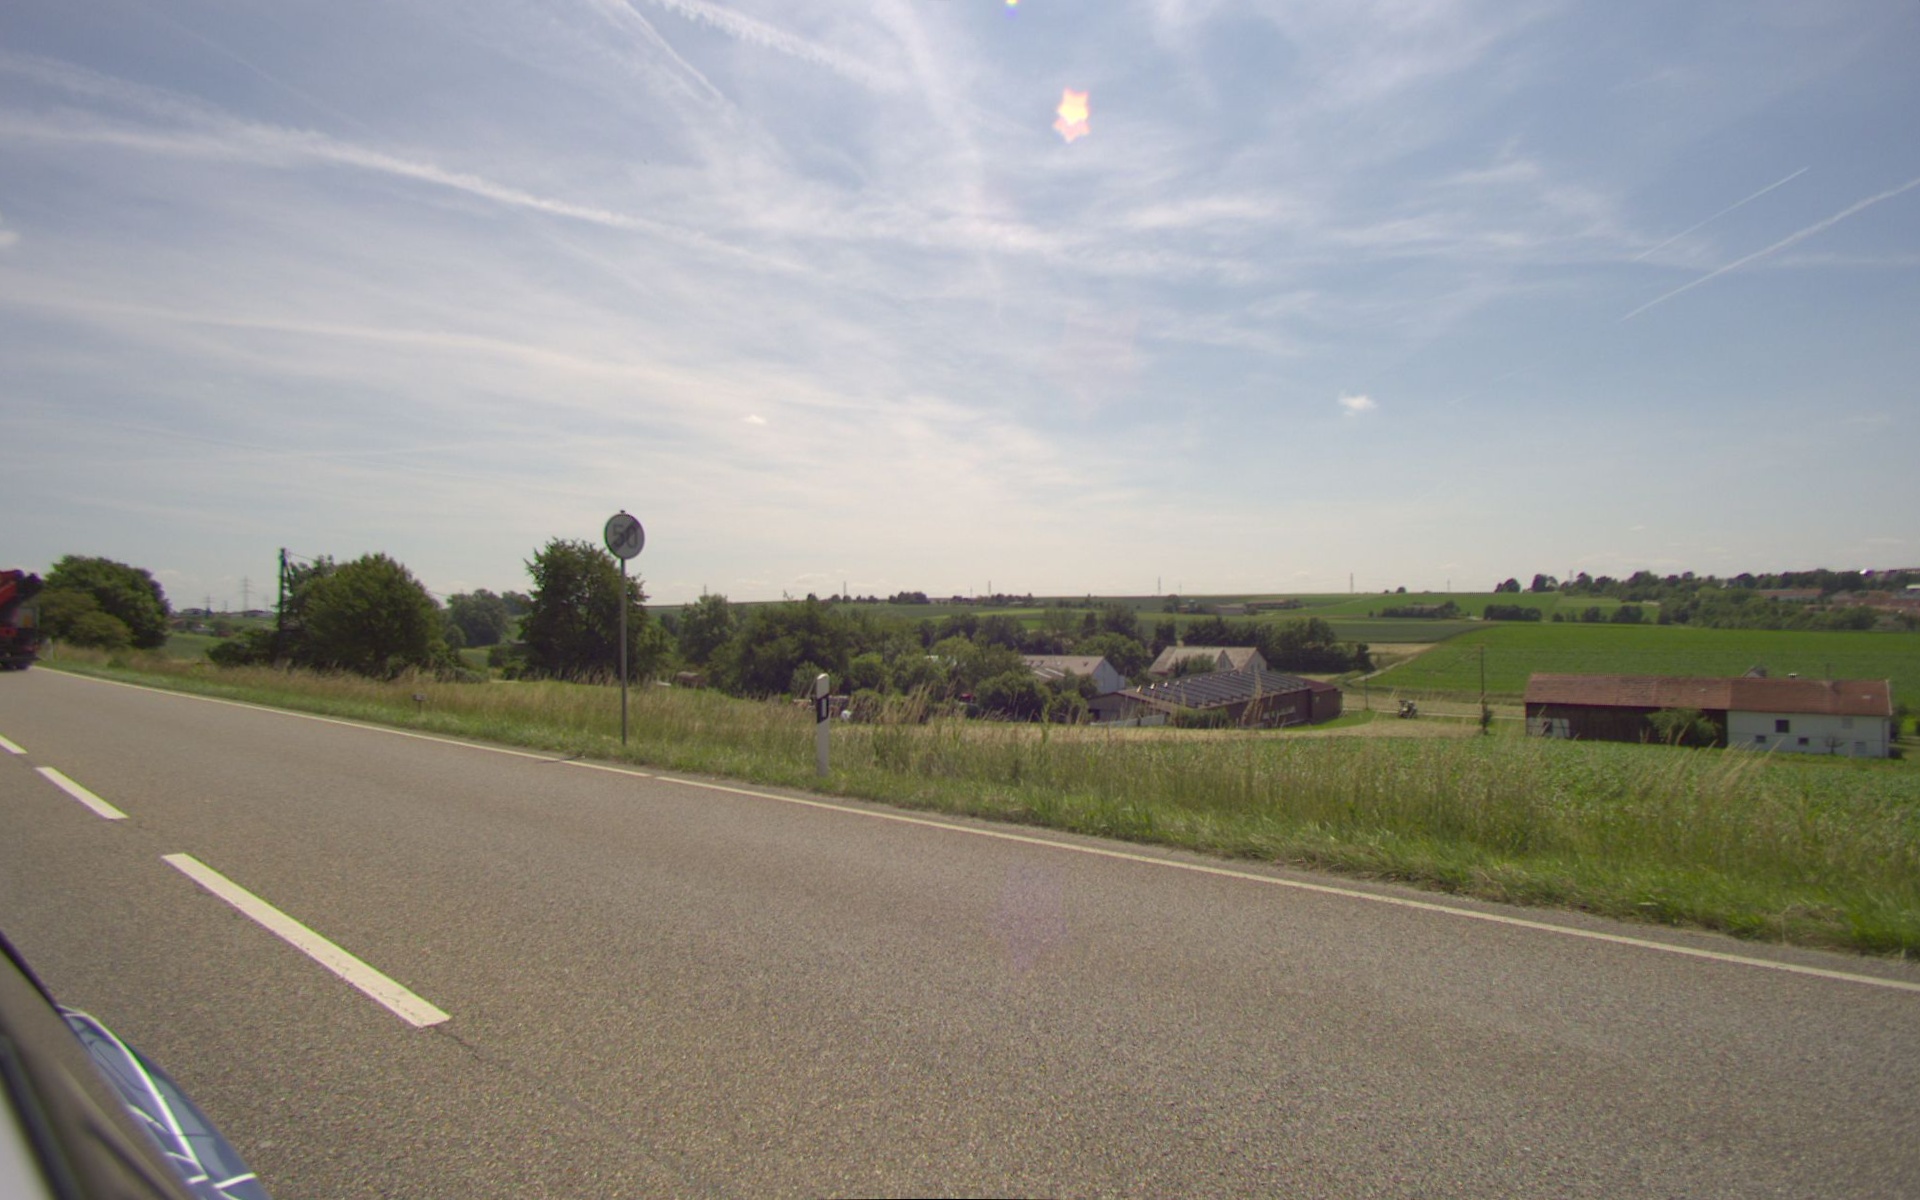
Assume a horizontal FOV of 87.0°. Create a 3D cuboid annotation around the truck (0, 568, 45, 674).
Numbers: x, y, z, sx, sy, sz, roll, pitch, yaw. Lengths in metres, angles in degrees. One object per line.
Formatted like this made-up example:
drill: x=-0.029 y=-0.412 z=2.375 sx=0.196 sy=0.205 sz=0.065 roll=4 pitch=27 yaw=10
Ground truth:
truck: x=-36.852 y=0.856 z=37.877 sx=11.063 sy=3.604 sz=2.726 roll=-2 pitch=-4 yaw=42
